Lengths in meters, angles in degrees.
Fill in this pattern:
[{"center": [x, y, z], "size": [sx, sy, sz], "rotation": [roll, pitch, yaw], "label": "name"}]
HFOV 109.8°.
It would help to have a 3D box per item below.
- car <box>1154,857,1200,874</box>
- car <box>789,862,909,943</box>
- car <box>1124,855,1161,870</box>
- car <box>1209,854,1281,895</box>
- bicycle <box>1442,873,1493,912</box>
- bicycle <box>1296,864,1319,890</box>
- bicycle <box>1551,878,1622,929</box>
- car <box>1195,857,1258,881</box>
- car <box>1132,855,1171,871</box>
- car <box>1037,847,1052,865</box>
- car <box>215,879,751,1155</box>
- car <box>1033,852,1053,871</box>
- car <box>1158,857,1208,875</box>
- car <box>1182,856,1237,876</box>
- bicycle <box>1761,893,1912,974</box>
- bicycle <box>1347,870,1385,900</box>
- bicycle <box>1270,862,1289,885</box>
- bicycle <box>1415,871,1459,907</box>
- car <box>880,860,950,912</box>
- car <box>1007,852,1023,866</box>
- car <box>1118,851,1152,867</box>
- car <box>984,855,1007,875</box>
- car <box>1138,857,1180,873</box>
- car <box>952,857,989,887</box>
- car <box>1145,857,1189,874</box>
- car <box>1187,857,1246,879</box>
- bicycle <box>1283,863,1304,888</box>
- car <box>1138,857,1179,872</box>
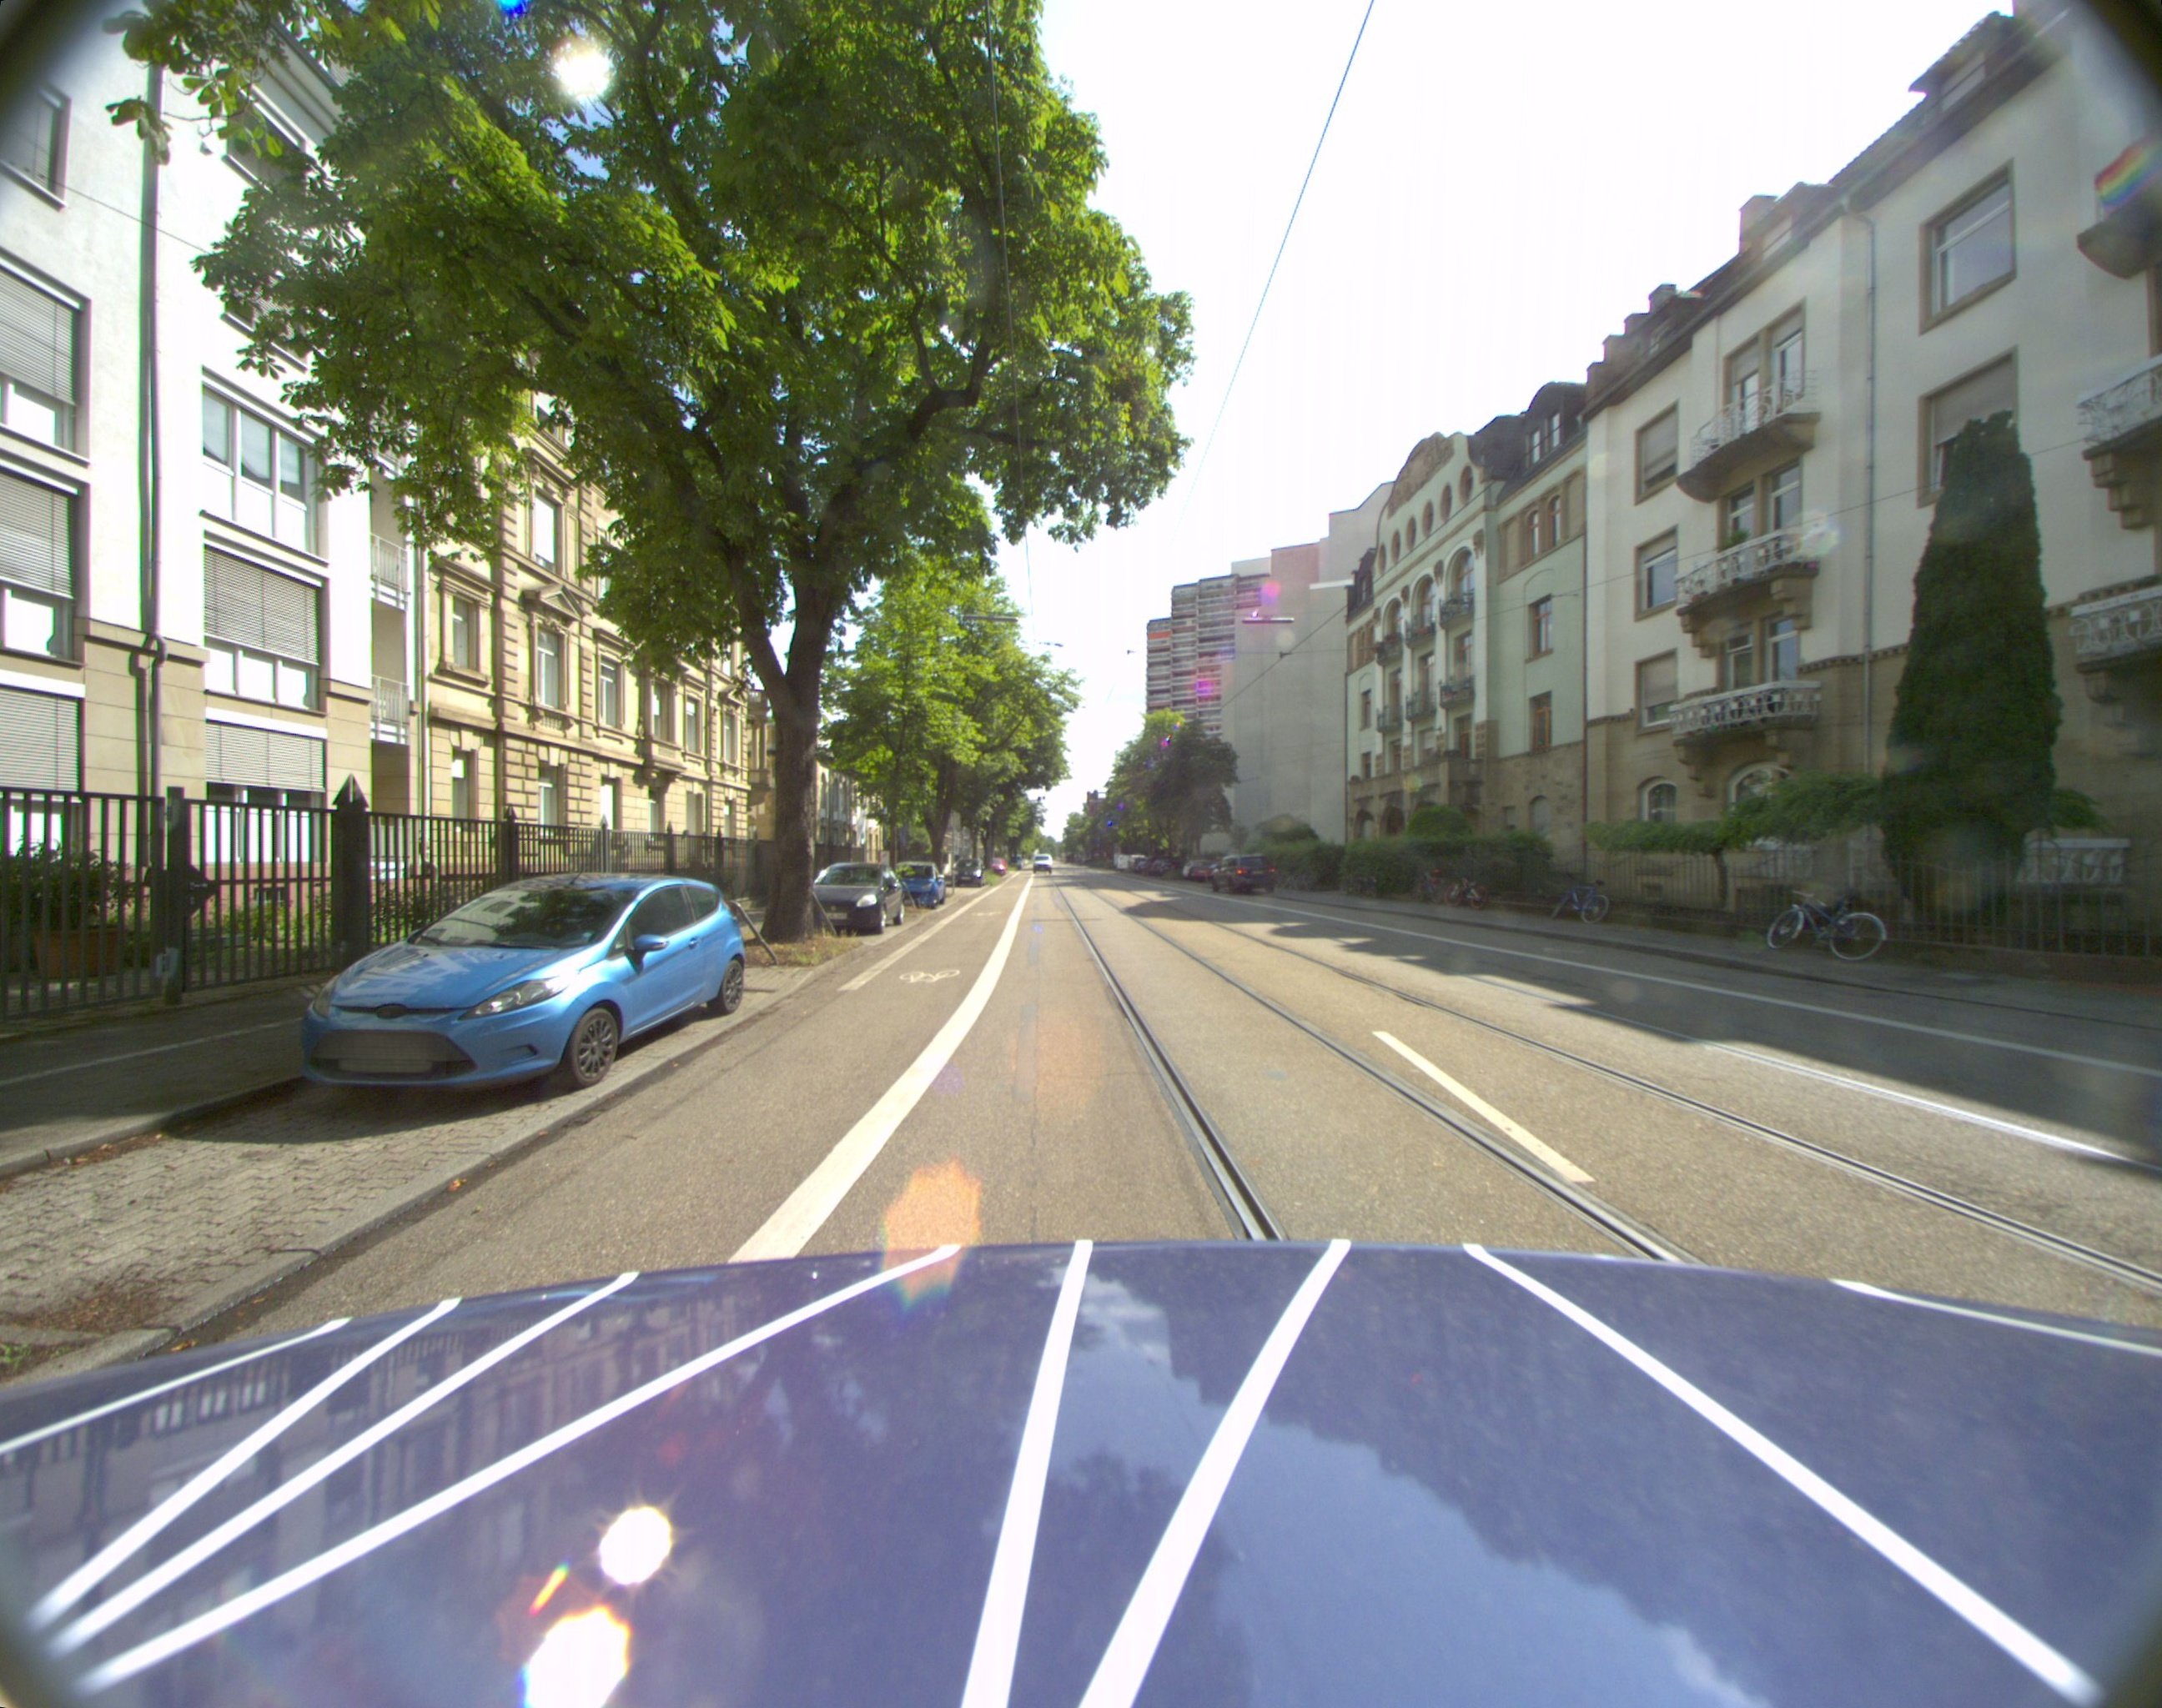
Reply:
[{"center": [8.362, 0.997, 66.167], "size": [3.994, 1.499, 2.001], "rotation": [0, 0, 8], "label": "car"}, {"center": [-4.926, 0.972, 16.627], "size": [1.679, 1.467, 3.659], "rotation": [3, 0, -4], "label": "car"}, {"center": [6.775, 0.912, 83.554], "size": [3.994, 1.672, 2.001], "rotation": [0, 0, 8], "label": "car"}, {"center": [7.233, 0.859, 33.941], "size": [1.922, 1.685, 4.400], "rotation": [0, 0, -5], "label": "car"}, {"center": [10.647, 1.043, 20.987], "size": [0.468, 0.990, 1.787], "rotation": [0, 0, -1], "label": "bicycle"}, {"center": [10.136, 1.027, 34.082], "size": [0.468, 1.128, 1.787], "rotation": [0, 0, -1], "label": "bicycle"}, {"center": [10.941, 1.053, 16.502], "size": [0.467, 0.990, 1.787], "rotation": [0, 0, 5], "label": "bicycle"}, {"center": [9.512, 0.953, 49.907], "size": [3.994, 1.499, 2.001], "rotation": [0, 0, 8], "label": "car"}, {"center": [7.360, 0.929, 79.129], "size": [3.994, 1.672, 2.001], "rotation": [0, 0, 8], "label": "car"}, {"center": [-5.428, 0.332, 113.200], "size": [2.146, 2.568, 4.817], "rotation": [0, 0, -2], "label": "car"}, {"center": [-4.323, 1.031, 6.329], "size": [1.647, 1.467, 3.660], "rotation": [3, 0, -3], "label": "car"}, {"center": [-3.887, 0.754, 78.384], "size": [1.974, 1.901, 4.817], "rotation": [0, 0, -2], "label": "car"}, {"center": [8.461, 0.984, 63.011], "size": [3.994, 1.499, 2.001], "rotation": [0, 0, 8], "label": "car"}, {"center": [9.608, 0.881, 56.963], "size": [3.994, 1.499, 2.001], "rotation": [0, 0, 8], "label": "car"}, {"center": [11.092, 1.125, 11.258], "size": [0.467, 0.990, 1.979], "rotation": [0, 0, 7], "label": "bicycle"}, {"center": [10.093, 1.072, 26.972], "size": [0.605, 0.990, 1.981], "rotation": [0, 0, -1], "label": "bicycle"}, {"center": [9.951, 0.963, 38.121], "size": [0.468, 1.128, 1.787], "rotation": [0, 0, -1], "label": "bicycle"}, {"center": [10.684, 1.037, 22.885], "size": [0.468, 0.990, 1.787], "rotation": [0, 0, -1], "label": "bicycle"}, {"center": [-5.341, 0.994, 24.841], "size": [1.679, 1.467, 3.659], "rotation": [3, 0, -4], "label": "car"}, {"center": [-7.897, 0.569, 91.047], "size": [1.744, 1.564, 3.928], "rotation": [3, 0, -4], "label": "car"}, {"center": [6.352, 0.574, 89.388], "size": [1.994, 1.740, 4.008], "rotation": [-1, 1, 41], "label": "car"}, {"center": [-7.427, 0.926, 66.373], "size": [1.744, 1.564, 3.928], "rotation": [3, 0, -4], "label": "car"}, {"center": [7.454, 1.011, 72.495], "size": [3.994, 1.499, 2.001], "rotation": [0, 0, 8], "label": "car"}, {"center": [-6.256, 0.971, 43.418], "size": [1.744, 1.564, 3.659], "rotation": [3, 0, -4], "label": "car"}, {"center": [7.861, 1.036, 69.285], "size": [3.994, 1.499, 2.001], "rotation": [0, 0, 8], "label": "car"}, {"center": [9.475, 0.963, 53.415], "size": [3.994, 1.499, 2.001], "rotation": [0, 0, 8], "label": "car"}, {"center": [10.052, 1.007, 36.024], "size": [0.468, 1.128, 1.787], "rotation": [0, 0, -1], "label": "bicycle"}, {"center": [7.780, 1.010, 75.655], "size": [3.994, 1.499, 2.001], "rotation": [0, 0, 8], "label": "car"}]
